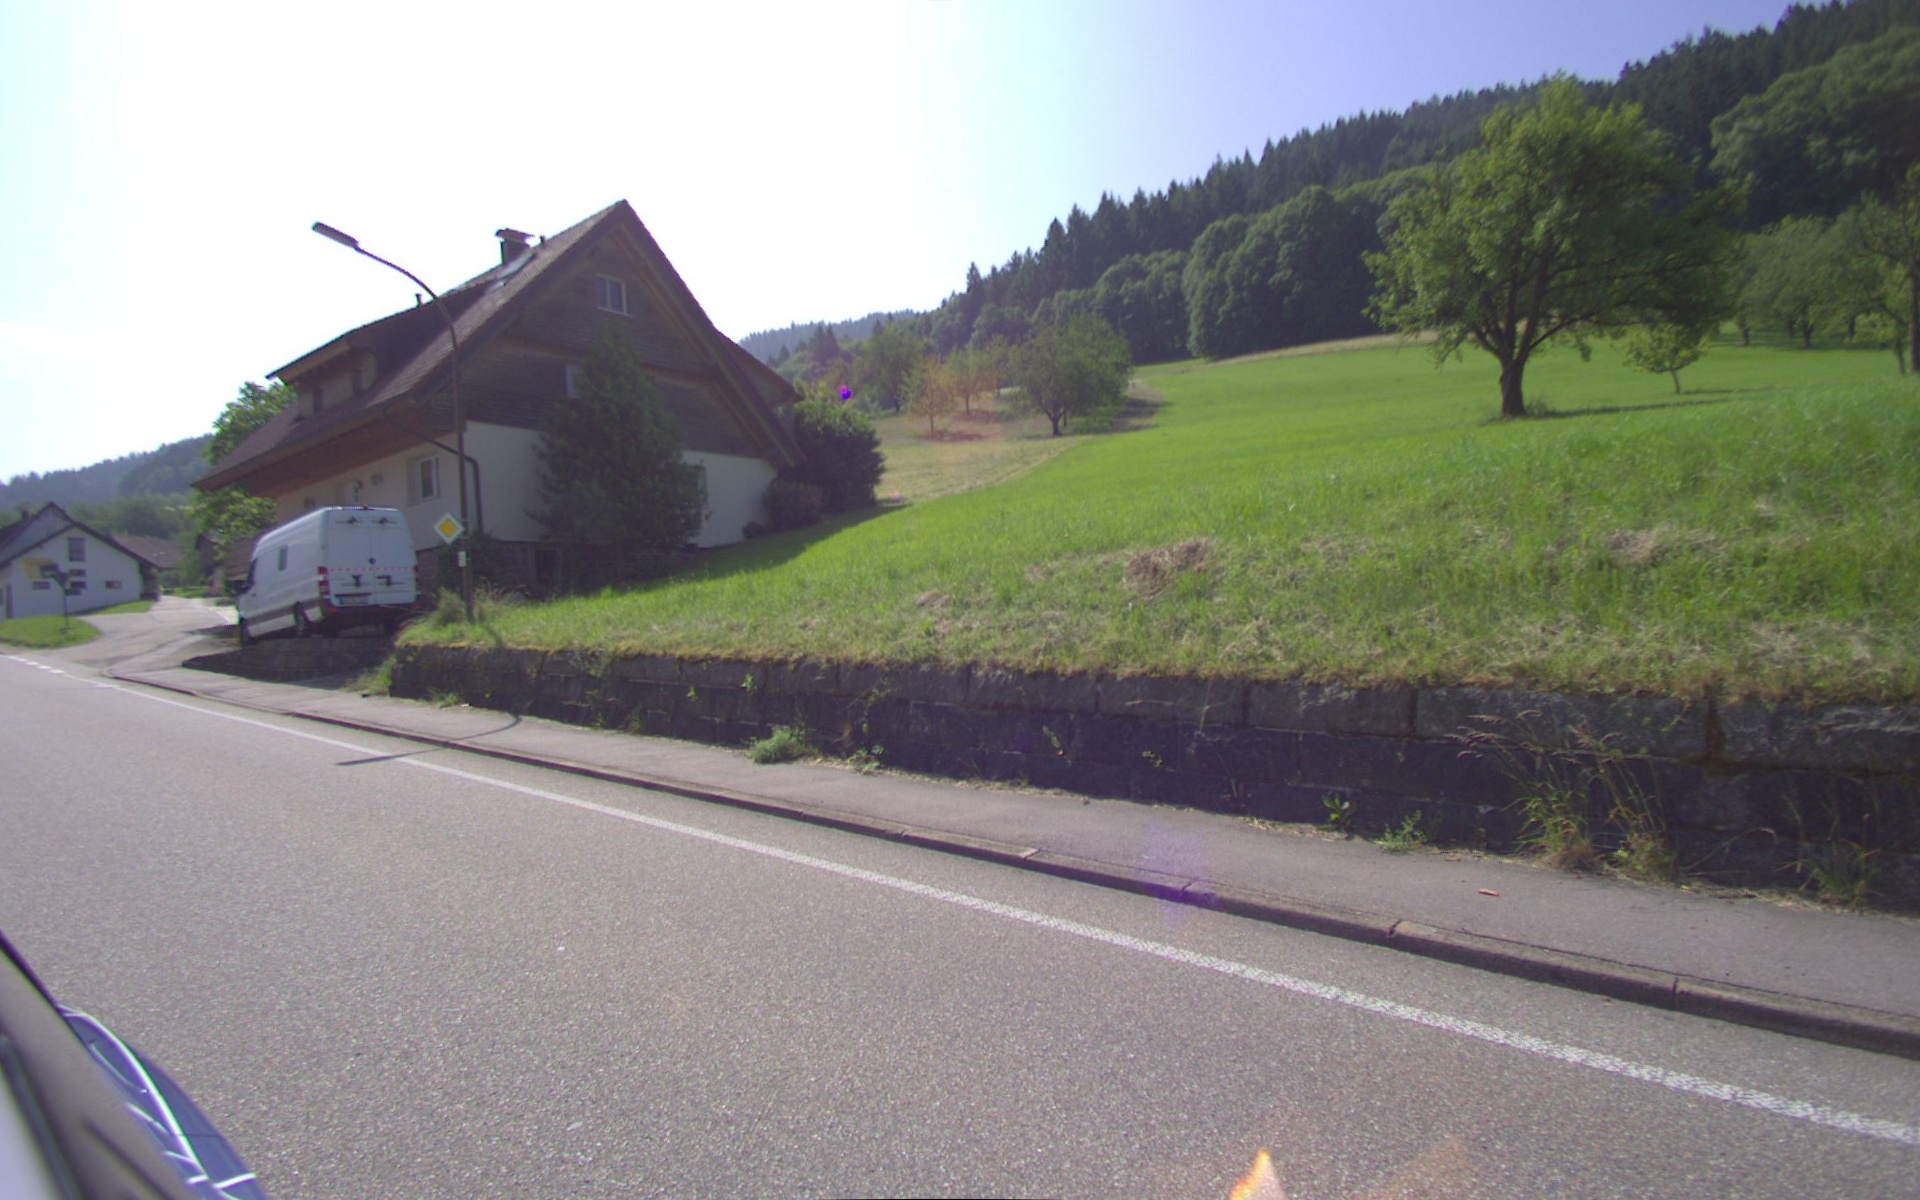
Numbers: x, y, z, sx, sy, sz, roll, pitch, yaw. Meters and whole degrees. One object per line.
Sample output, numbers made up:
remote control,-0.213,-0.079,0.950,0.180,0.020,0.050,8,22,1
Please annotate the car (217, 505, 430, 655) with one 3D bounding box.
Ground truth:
car,-14.780,-0.321,23.217,7.170,2.708,2.046,-6,-1,41
